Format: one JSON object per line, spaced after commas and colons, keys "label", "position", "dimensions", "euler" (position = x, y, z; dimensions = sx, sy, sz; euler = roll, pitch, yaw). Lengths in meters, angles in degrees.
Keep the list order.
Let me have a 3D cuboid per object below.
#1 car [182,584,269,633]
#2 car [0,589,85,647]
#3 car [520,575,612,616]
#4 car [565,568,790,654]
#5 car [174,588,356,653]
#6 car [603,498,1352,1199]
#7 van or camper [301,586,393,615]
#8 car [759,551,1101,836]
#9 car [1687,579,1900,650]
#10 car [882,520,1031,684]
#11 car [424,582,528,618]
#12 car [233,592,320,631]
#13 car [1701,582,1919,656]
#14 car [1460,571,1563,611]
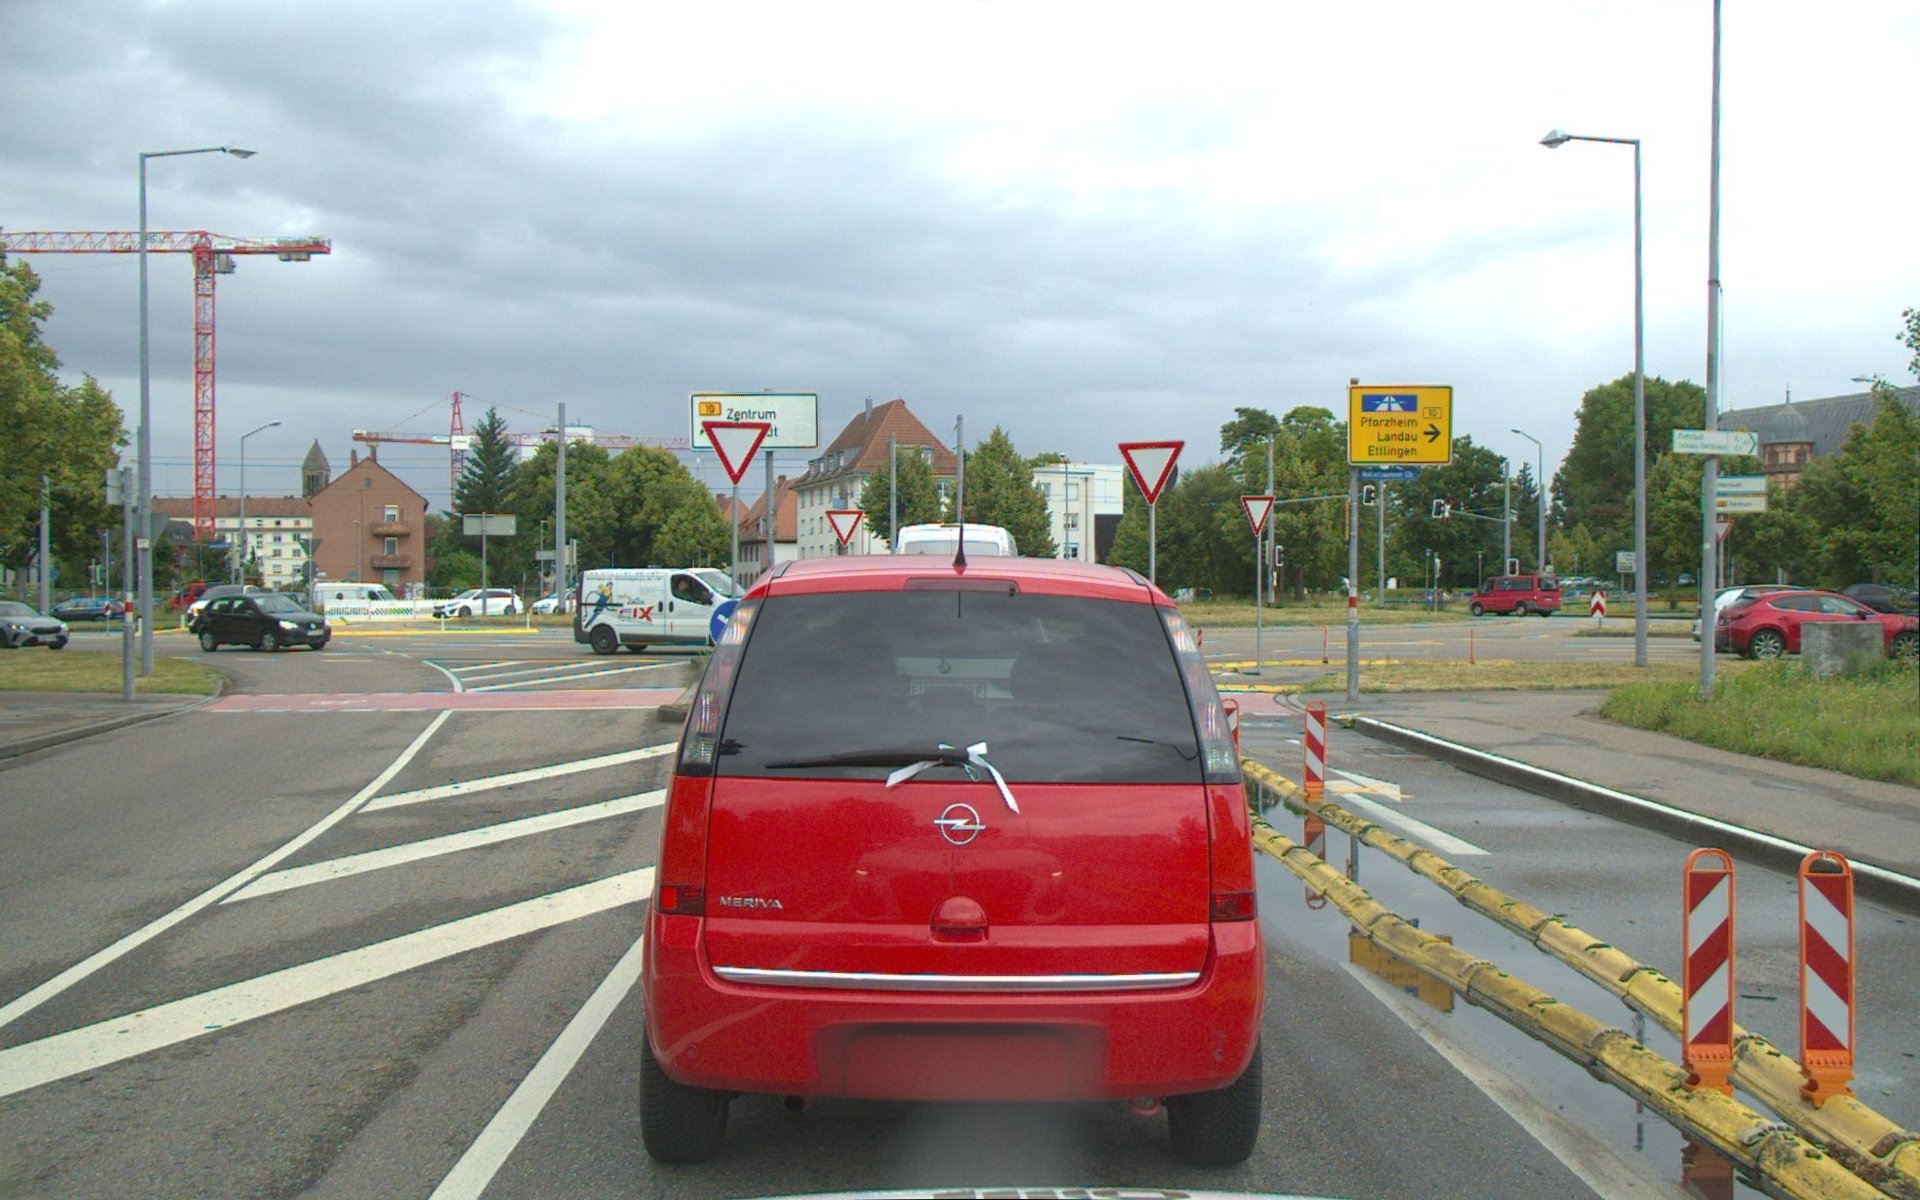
{"label": "car", "position": [-27.137, 0.294, 61.231], "dimensions": [1.895, 1.713, 4.181], "euler": [-1, 0, -9]}
{"label": "car", "position": [-27.883, 0.507, 48.428], "dimensions": [4.345, 1.630, 2.094], "euler": [0, 0, 32]}
{"label": "car", "position": [-20.212, -0.233, 84.996], "dimensions": [1.959, 2.049, 4.466], "euler": [0, 0, 34]}
{"label": "car", "position": [-6.576, 0.250, 38.623], "dimensions": [4.731, 1.933, 2.100], "euler": [0, 0, 17]}
{"label": "car", "position": [-18.178, 0.518, 43.280], "dimensions": [4.340, 1.630, 2.097], "euler": [0, 0, 27]}
{"label": "car", "position": [0.014, 0.609, 5.476], "dimensions": [1.639, 1.669, 3.626], "euler": [1, 0, -1]}
{"label": "van or camper", "position": [-44.272, 0.052, 119.553], "dimensions": [6.045, 2.049, 2.002], "euler": [0, 0, 10]}
{"label": "car", "position": [-0.212, 0.541, 12.173], "dimensions": [2.018, 1.676, 4.606], "euler": [1, 0, -1]}
{"label": "car", "position": [18.671, 0.313, 37.238], "dimensions": [3.902, 1.534, 2.002], "euler": [0, 0, 13]}
{"label": "car", "position": [0.041, 0.010, 28.922], "dimensions": [2.149, 2.584, 4.965], "euler": [1, 0, 5]}
{"label": "car", "position": [-23.436, -0.008, 80.260], "dimensions": [1.960, 1.663, 4.657], "euler": [0, 0, 36]}
{"label": "car", "position": [-27.800, 0.430, 67.425], "dimensions": [1.891, 1.515, 4.000], "euler": [-1, 0, -1]}
{"label": "car", "position": [18.068, 0.393, 34.767], "dimensions": [4.250, 1.489, 2.002], "euler": [0, 0, 14]}
{"label": "car", "position": [28.026, -0.454, 84.247], "dimensions": [2.086, 1.951, 4.841], "euler": [-1, 0, -30]}
